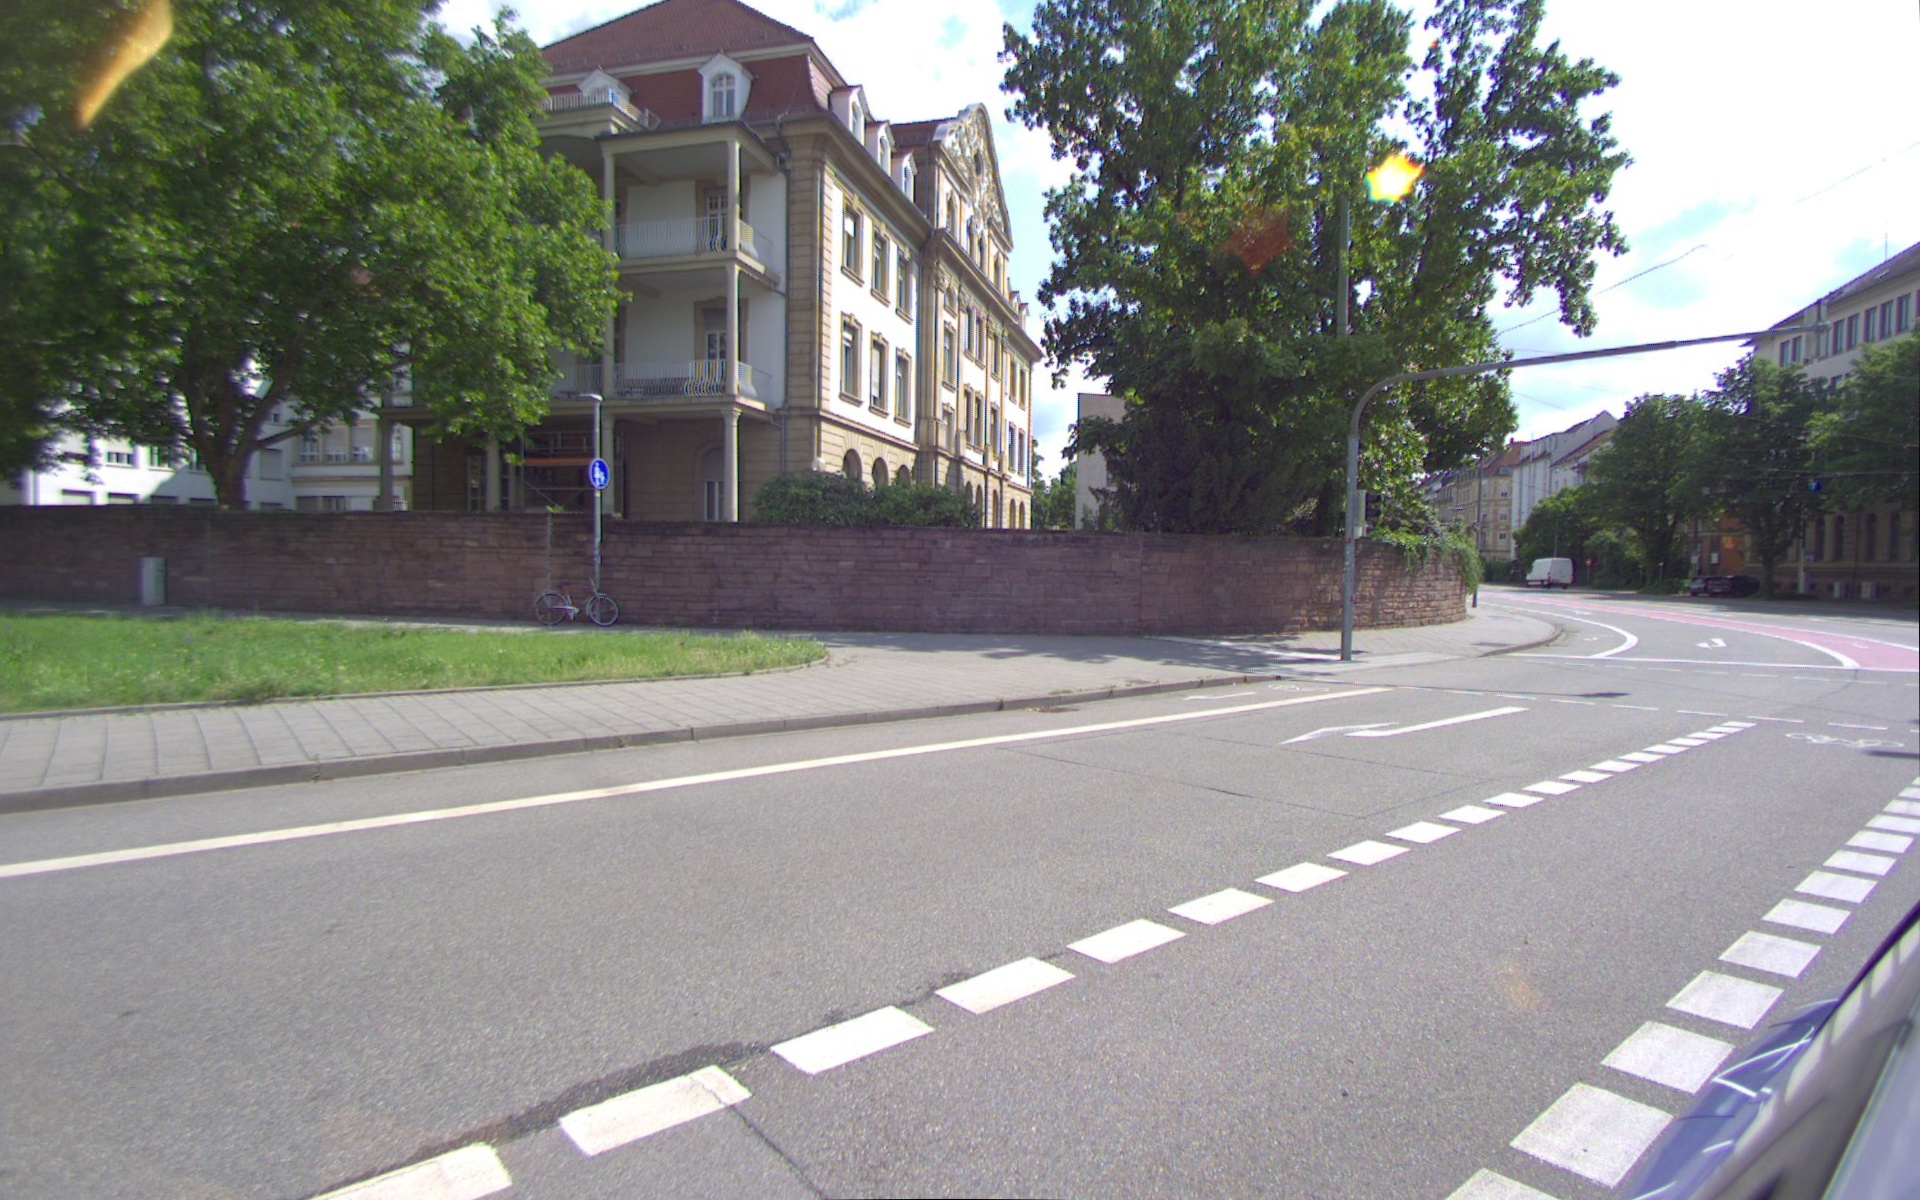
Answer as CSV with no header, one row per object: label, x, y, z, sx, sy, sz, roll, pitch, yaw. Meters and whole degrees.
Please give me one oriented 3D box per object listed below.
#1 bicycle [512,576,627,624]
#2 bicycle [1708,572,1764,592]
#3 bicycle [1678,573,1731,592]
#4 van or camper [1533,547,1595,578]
bicycle,-7.942,-0.010,20.658,2.024,0.871,0.858,1,4,4
bicycle,53.095,-1.232,69.272,1.030,1.221,2.898,-4,5,-32
bicycle,53.285,-1.293,72.491,1.052,1.221,2.898,-4,5,-32
van or camper,53.281,-3.328,89.461,2.934,2.634,6.728,2,3,15
